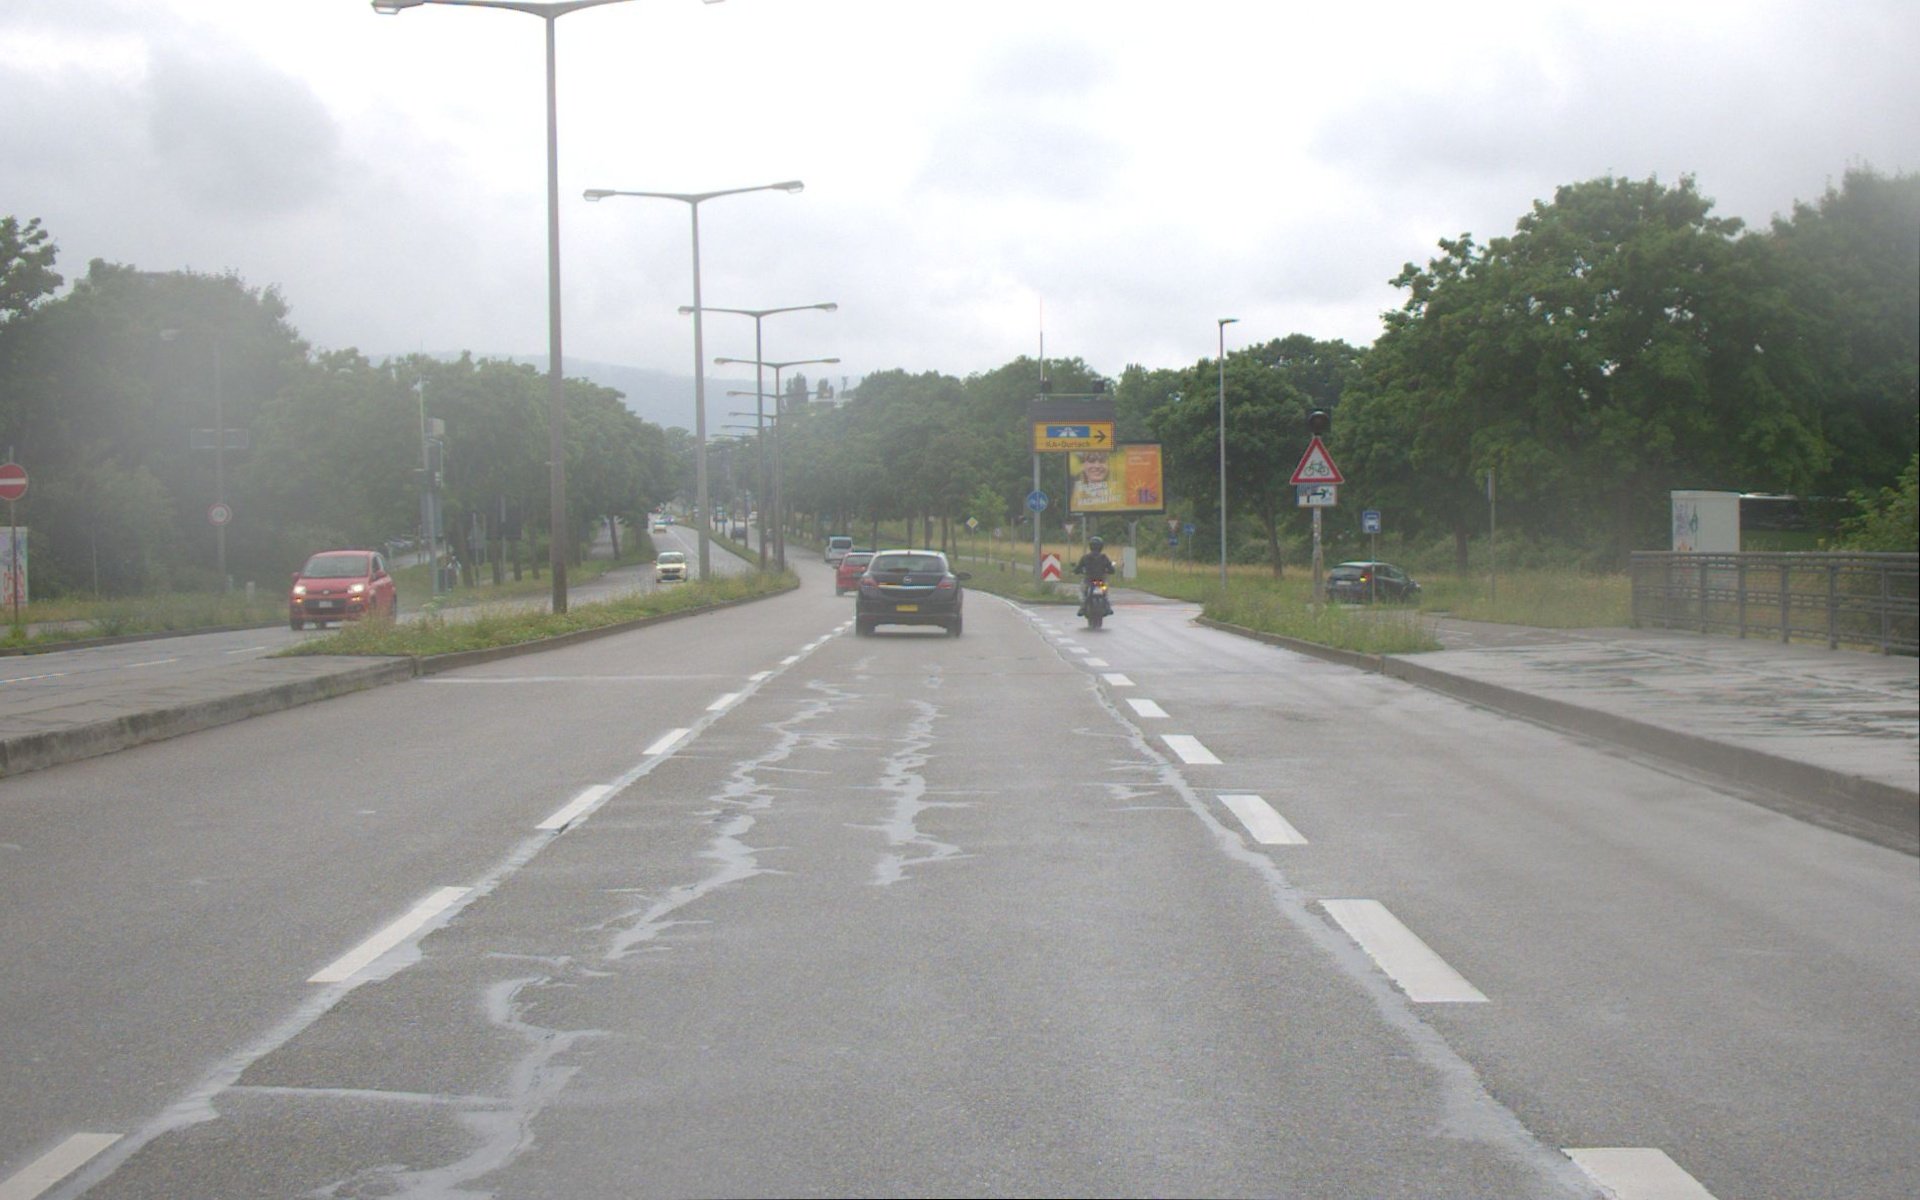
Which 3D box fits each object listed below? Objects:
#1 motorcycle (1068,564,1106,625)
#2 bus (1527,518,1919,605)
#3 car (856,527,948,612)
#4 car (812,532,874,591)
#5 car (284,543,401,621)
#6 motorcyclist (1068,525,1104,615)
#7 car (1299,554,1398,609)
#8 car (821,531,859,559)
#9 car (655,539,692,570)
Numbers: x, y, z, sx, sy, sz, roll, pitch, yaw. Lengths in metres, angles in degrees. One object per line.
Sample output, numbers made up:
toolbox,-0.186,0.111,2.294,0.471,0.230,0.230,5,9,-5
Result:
motorcycle,2.389,-0.109,64.939,0.601,1.089,1.732,1,1,-2
bus,26.330,-1.277,114.812,14.539,2.670,2.764,1,1,-12
car,-0.974,-0.524,56.577,1.463,1.324,3.758,1,1,-2
car,-3.832,-1.280,113.175,1.993,1.873,4.000,1,1,-1
car,-12.238,-0.382,68.290,1.660,1.443,3.557,-2,1,-1
motorcyclist,2.382,-0.575,64.910,0.601,1.684,0.860,1,1,-2
car,11.932,-0.583,105.413,1.857,1.612,3.995,1,1,25
car,-8.934,-4.093,256.114,2.515,2.045,5.294,-1,1,-5
car,-15.880,-2.519,190.806,1.707,1.624,4.492,-3,1,-2
